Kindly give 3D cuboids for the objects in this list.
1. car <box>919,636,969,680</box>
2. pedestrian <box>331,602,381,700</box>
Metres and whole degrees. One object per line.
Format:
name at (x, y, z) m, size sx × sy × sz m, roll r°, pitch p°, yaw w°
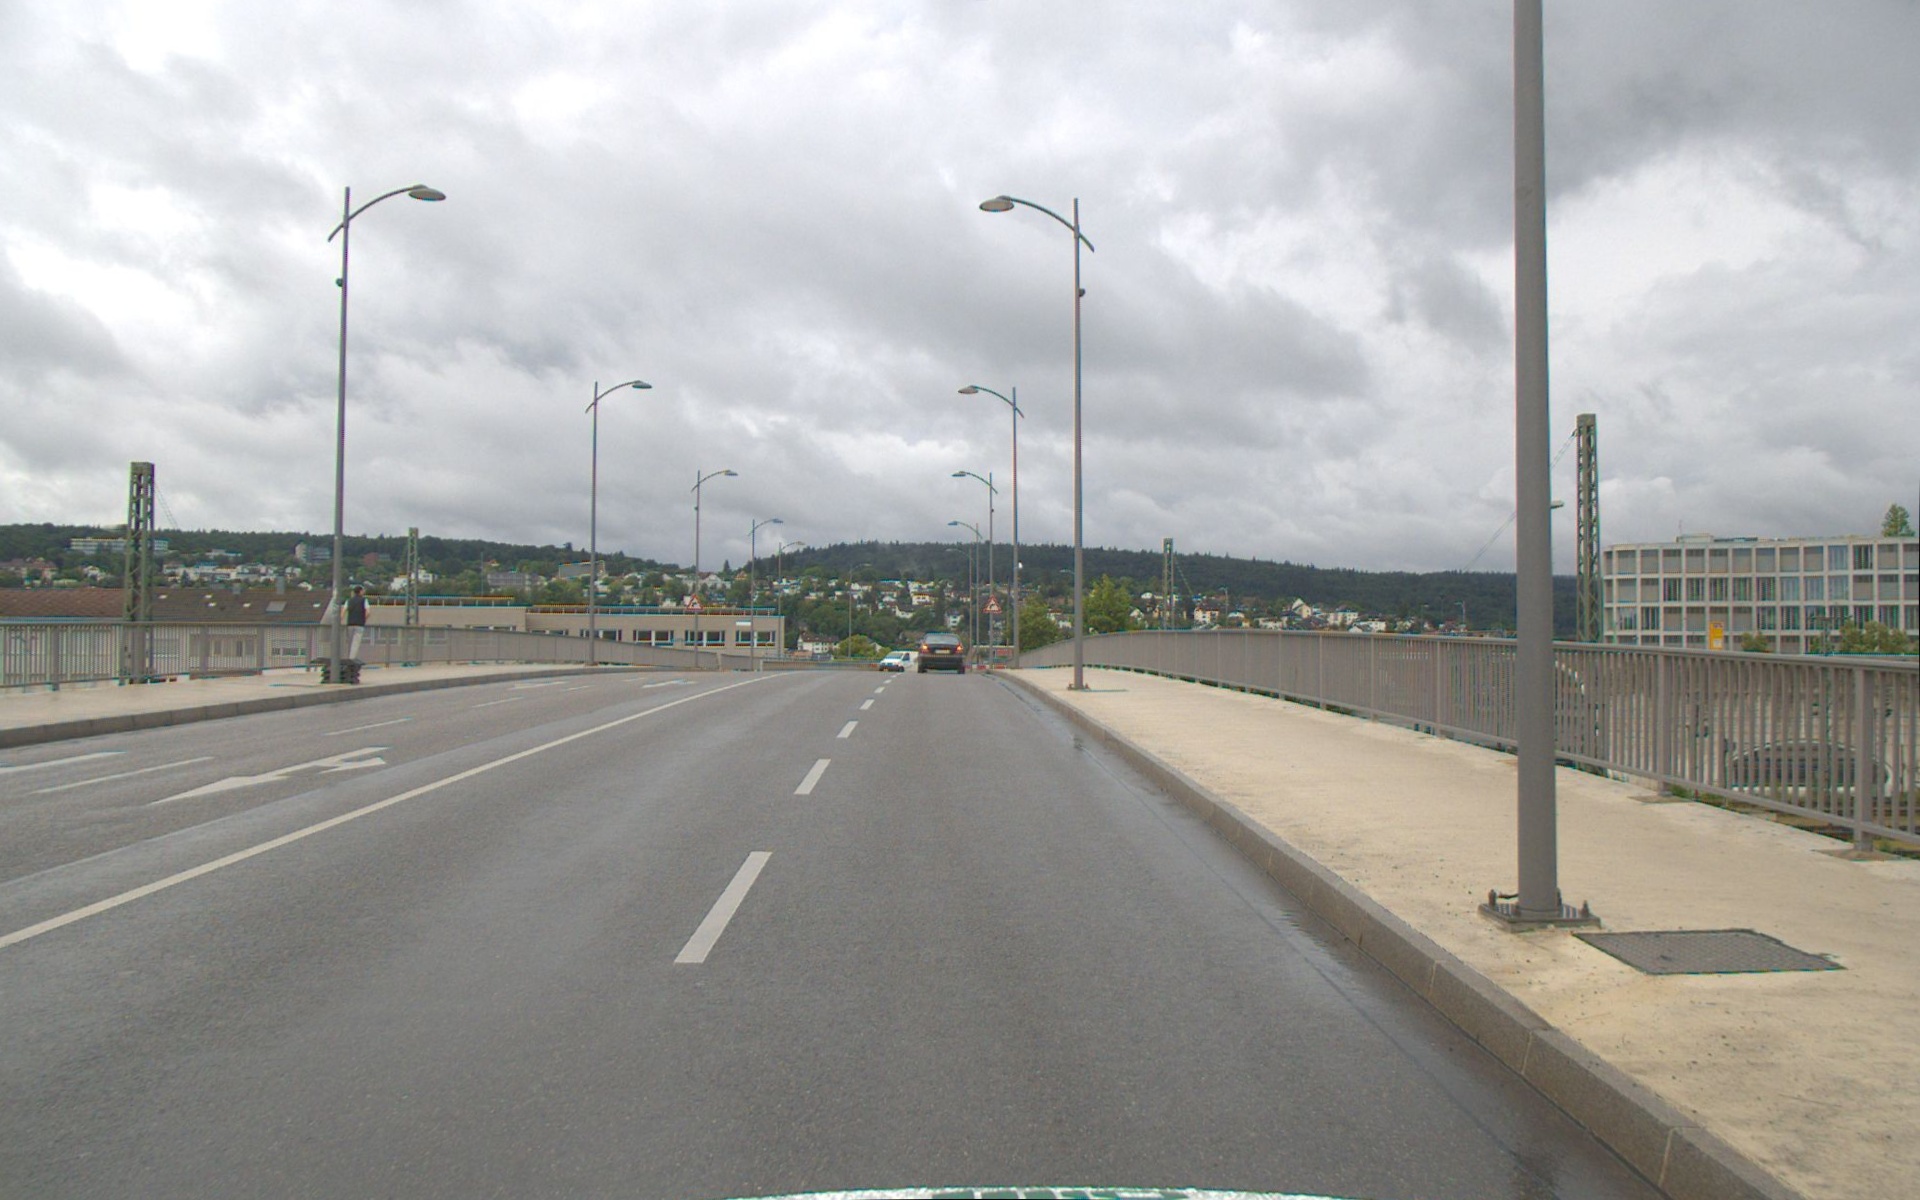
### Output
car at (-0.568, 2.086, 58.724) m, size 1.718 × 1.505 × 3.998 m, roll 0°, pitch -3°, yaw -1°
pedestrian at (-12.983, 1.105, 35.580) m, size 0.741 × 2.084 × 0.891 m, roll 0°, pitch -3°, yaw -1°
